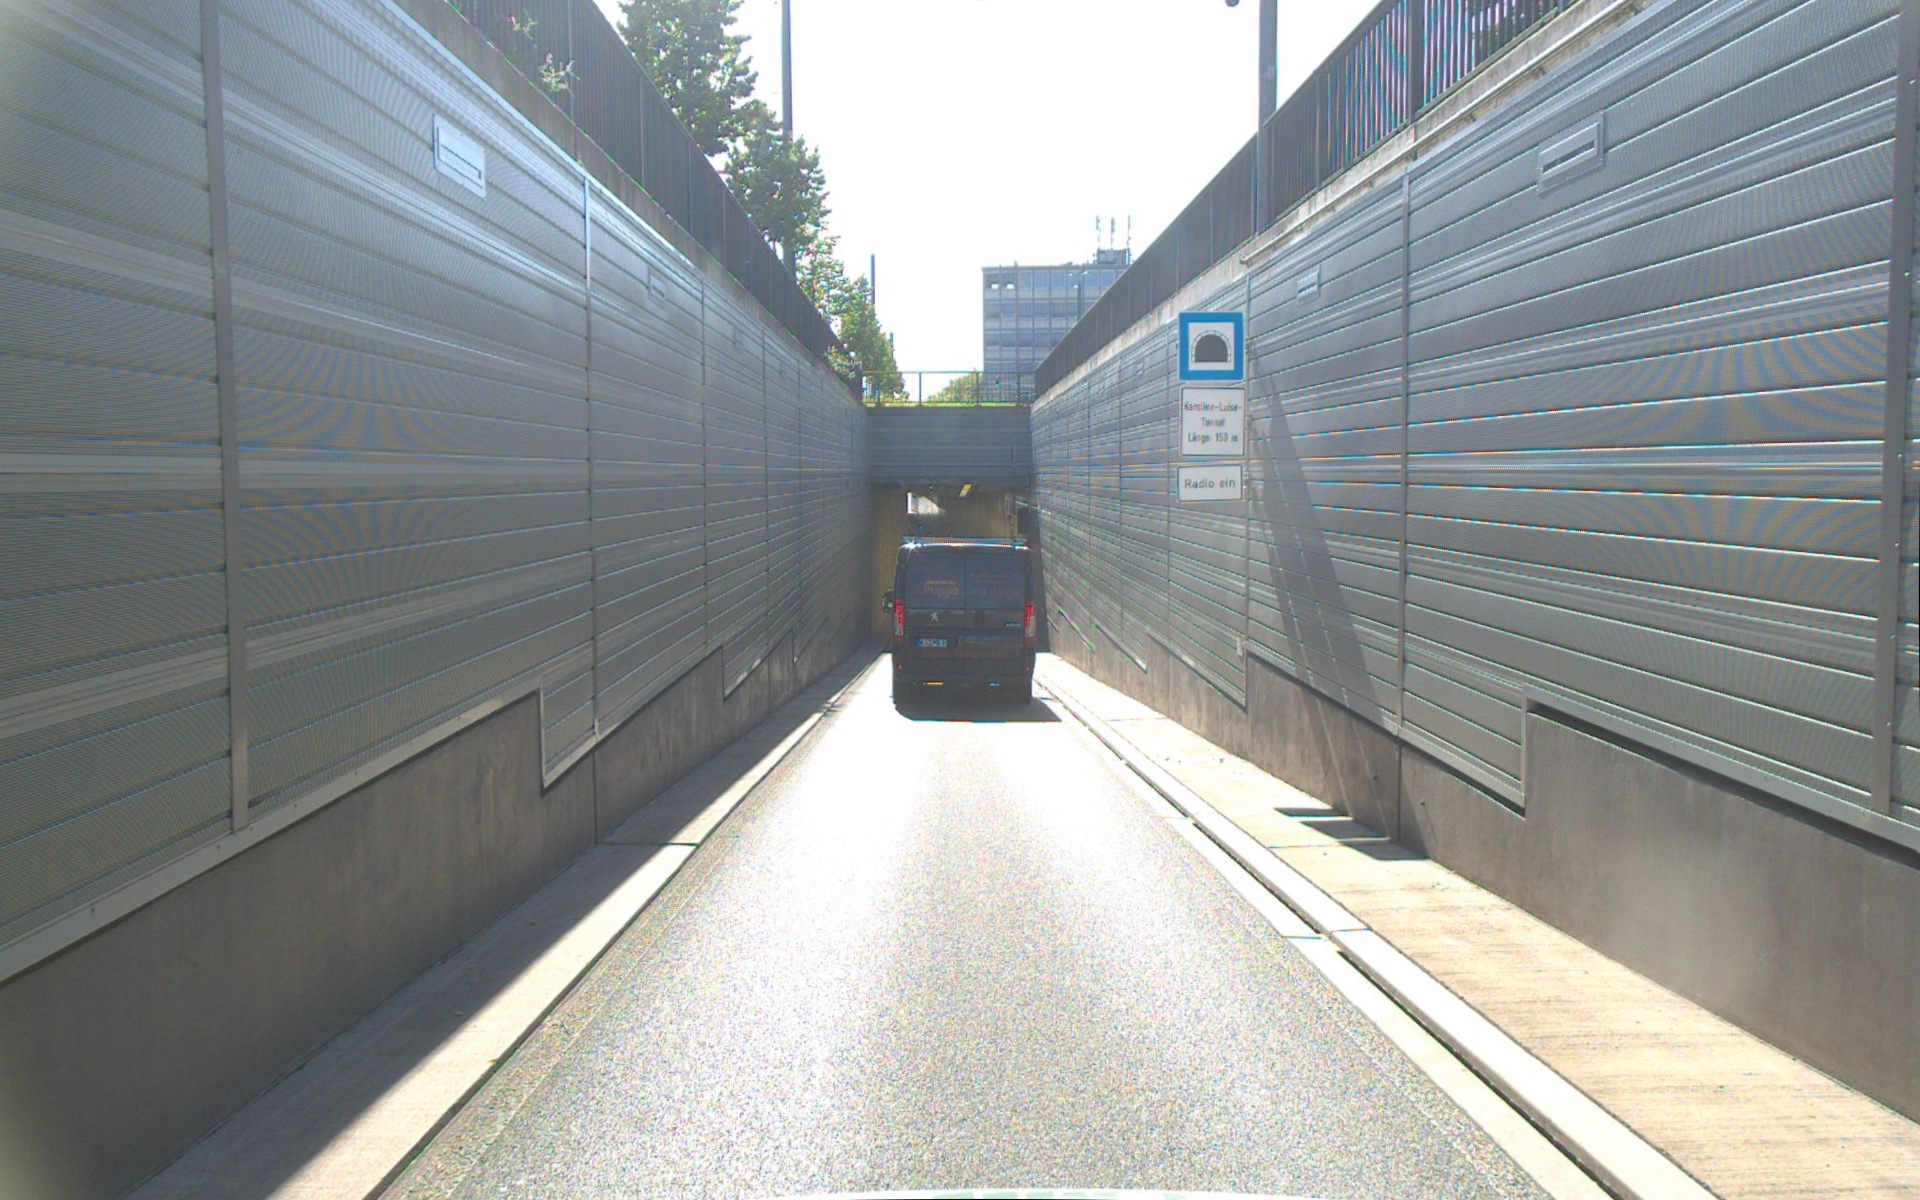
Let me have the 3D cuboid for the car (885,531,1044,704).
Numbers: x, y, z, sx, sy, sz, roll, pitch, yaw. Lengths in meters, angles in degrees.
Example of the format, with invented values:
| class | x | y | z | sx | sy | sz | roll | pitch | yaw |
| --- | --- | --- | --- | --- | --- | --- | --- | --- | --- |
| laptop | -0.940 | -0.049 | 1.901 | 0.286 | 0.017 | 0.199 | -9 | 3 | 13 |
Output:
| class | x | y | z | sx | sy | sz | roll | pitch | yaw |
| --- | --- | --- | --- | --- | --- | --- | --- | --- | --- |
| car | 0.046 | 0.211 | 24.678 | 2.114 | 2.305 | 4.636 | 1 | 1 | 0 |
